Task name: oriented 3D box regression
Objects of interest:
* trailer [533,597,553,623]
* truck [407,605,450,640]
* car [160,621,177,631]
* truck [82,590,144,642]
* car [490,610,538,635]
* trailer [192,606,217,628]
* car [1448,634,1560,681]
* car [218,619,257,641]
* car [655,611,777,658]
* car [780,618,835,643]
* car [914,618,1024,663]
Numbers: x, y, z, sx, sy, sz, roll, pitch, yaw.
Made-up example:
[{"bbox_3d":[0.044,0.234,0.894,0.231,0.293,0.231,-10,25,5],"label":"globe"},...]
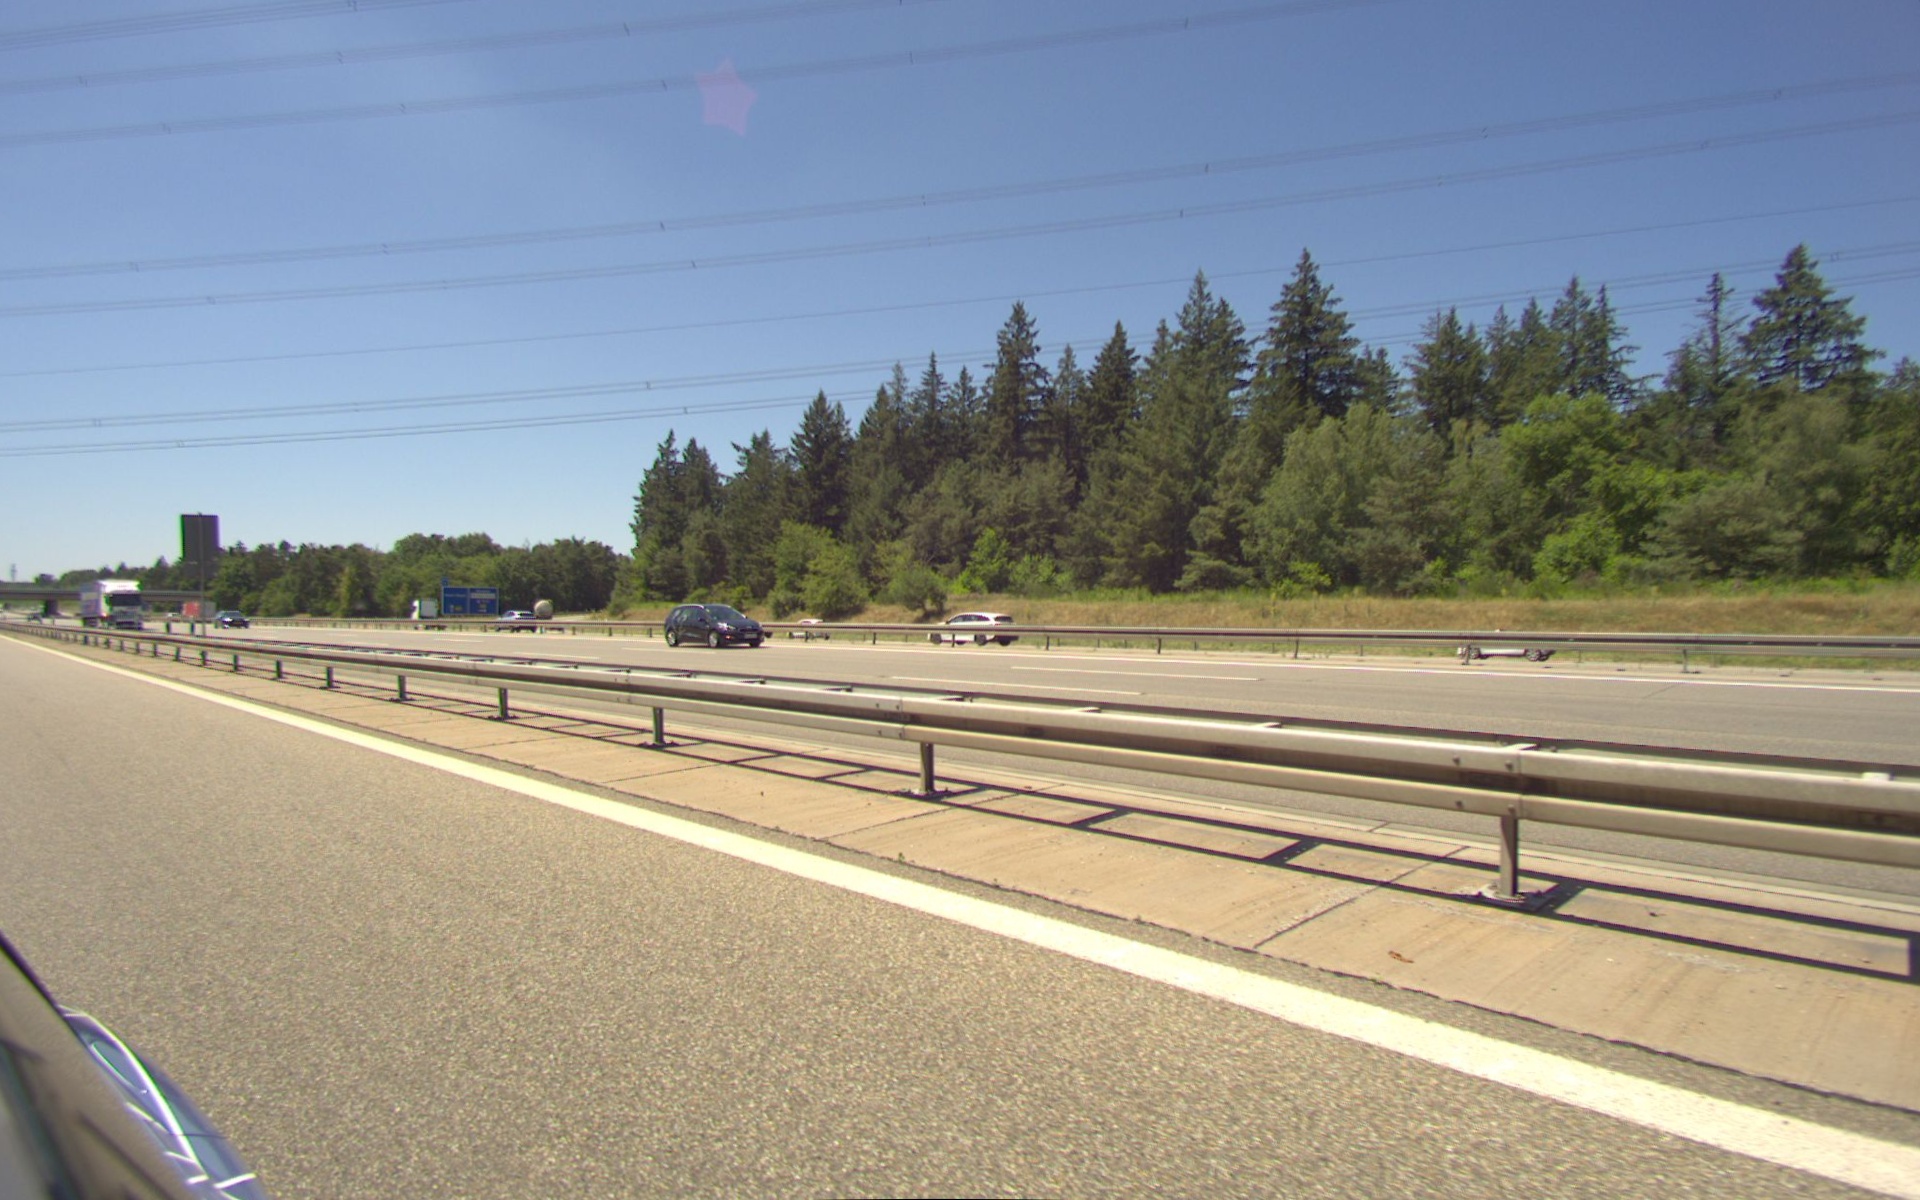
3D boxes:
[{"bbox_3d":[-64.216,1.539,155.666,2.733,3.827,8.965,0,-1,-23],"label":"trailer"},{"bbox_3d":[-69.472,2.892,132.250,2.827,4.378,7.536,1,0,-45],"label":"truck"},{"bbox_3d":[-144.049,4.692,184.233,4.826,1.696,1.752,1,0,44],"label":"car"},{"bbox_3d":[-70.614,1.332,84.268,11.048,4.089,2.673,-1,-1,43],"label":"truck"},{"bbox_3d":[-34.367,1.693,77.926,3.999,1.796,1.972,0,0,42],"label":"car"},{"bbox_3d":[-142.491,3.260,190.716,2.511,3.826,13.757,0,-2,-42],"label":"trailer"},{"bbox_3d":[23.835,2.469,44.390,4.000,1.796,1.972,0,0,43],"label":"car"},{"bbox_3d":[-59.574,2.440,83.418,4.002,1.730,1.971,-1,-1,45],"label":"car"},{"bbox_3d":[-8.341,1.132,34.427,4.241,1.487,1.972,-1,-1,42],"label":"car"},{"bbox_3d":[-11.381,2.258,75.577,3.999,1.796,1.972,0,0,42],"label":"car"},{"bbox_3d":[0.373,1.745,44.989,4.811,1.796,1.972,0,0,42],"label":"car"}]
